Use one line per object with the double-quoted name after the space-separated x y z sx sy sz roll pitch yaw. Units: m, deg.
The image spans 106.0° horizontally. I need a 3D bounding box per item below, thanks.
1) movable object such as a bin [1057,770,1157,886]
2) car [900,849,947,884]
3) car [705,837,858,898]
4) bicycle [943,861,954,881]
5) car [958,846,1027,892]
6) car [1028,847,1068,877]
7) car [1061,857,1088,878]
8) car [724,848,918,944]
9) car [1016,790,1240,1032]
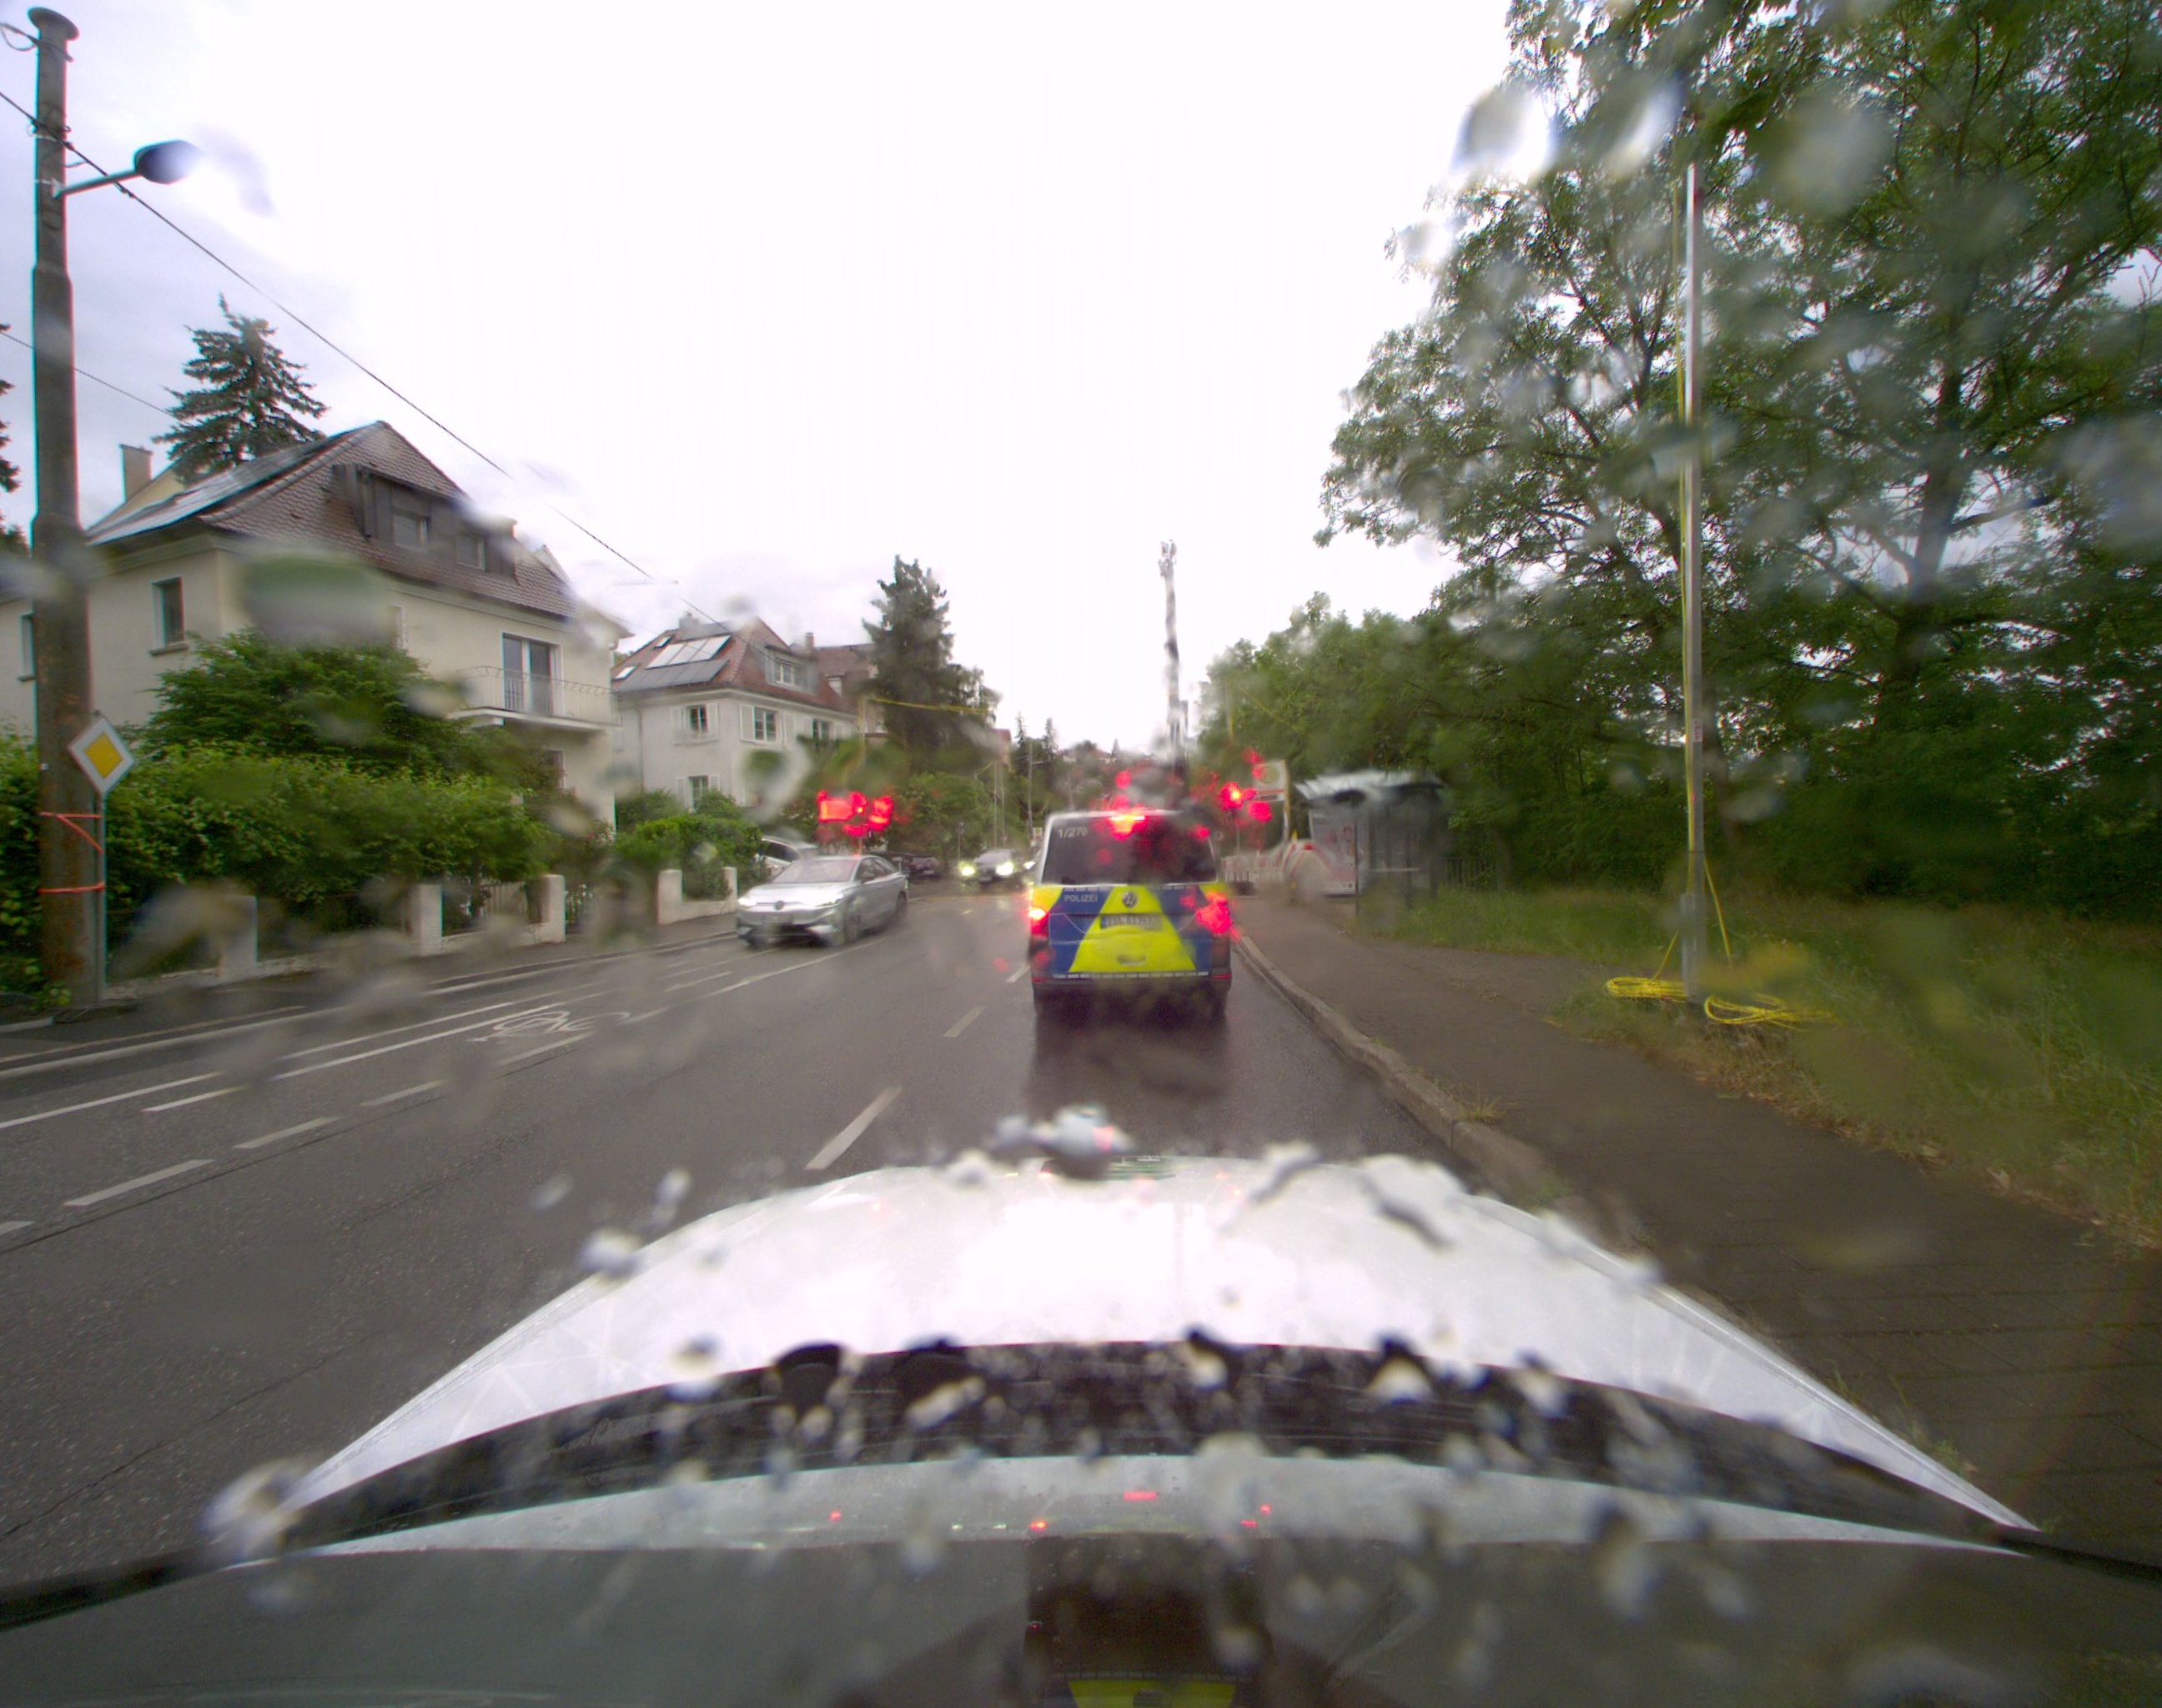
1.108 -0.933 31.767 2.809 4.177 4.400 0 0 17 "movable object such as a bin"
-7.453 0.553 38.295 1.770 1.486 3.720 0 1 -17 "car"
-10.279 0.456 28.052 4.599 2.007 1.907 0 0 13 "car"
-6.498 0.823 39.885 0.463 0.897 1.627 -1 0 -12 "bicycle"
-3.302 0.548 31.119 1.858 1.621 4.169 0 0 4 "car"
-1.895 0.440 48.081 1.986 1.674 4.690 0 0 2 "car"
-0.467 0.951 59.608 1.757 1.463 3.889 0 0 3 "car"
-4.698 0.708 15.596 1.845 1.527 4.825 -1 -1 4 "car"
0.462 0.480 8.937 1.886 2.050 4.002 0 0 2 "car"
